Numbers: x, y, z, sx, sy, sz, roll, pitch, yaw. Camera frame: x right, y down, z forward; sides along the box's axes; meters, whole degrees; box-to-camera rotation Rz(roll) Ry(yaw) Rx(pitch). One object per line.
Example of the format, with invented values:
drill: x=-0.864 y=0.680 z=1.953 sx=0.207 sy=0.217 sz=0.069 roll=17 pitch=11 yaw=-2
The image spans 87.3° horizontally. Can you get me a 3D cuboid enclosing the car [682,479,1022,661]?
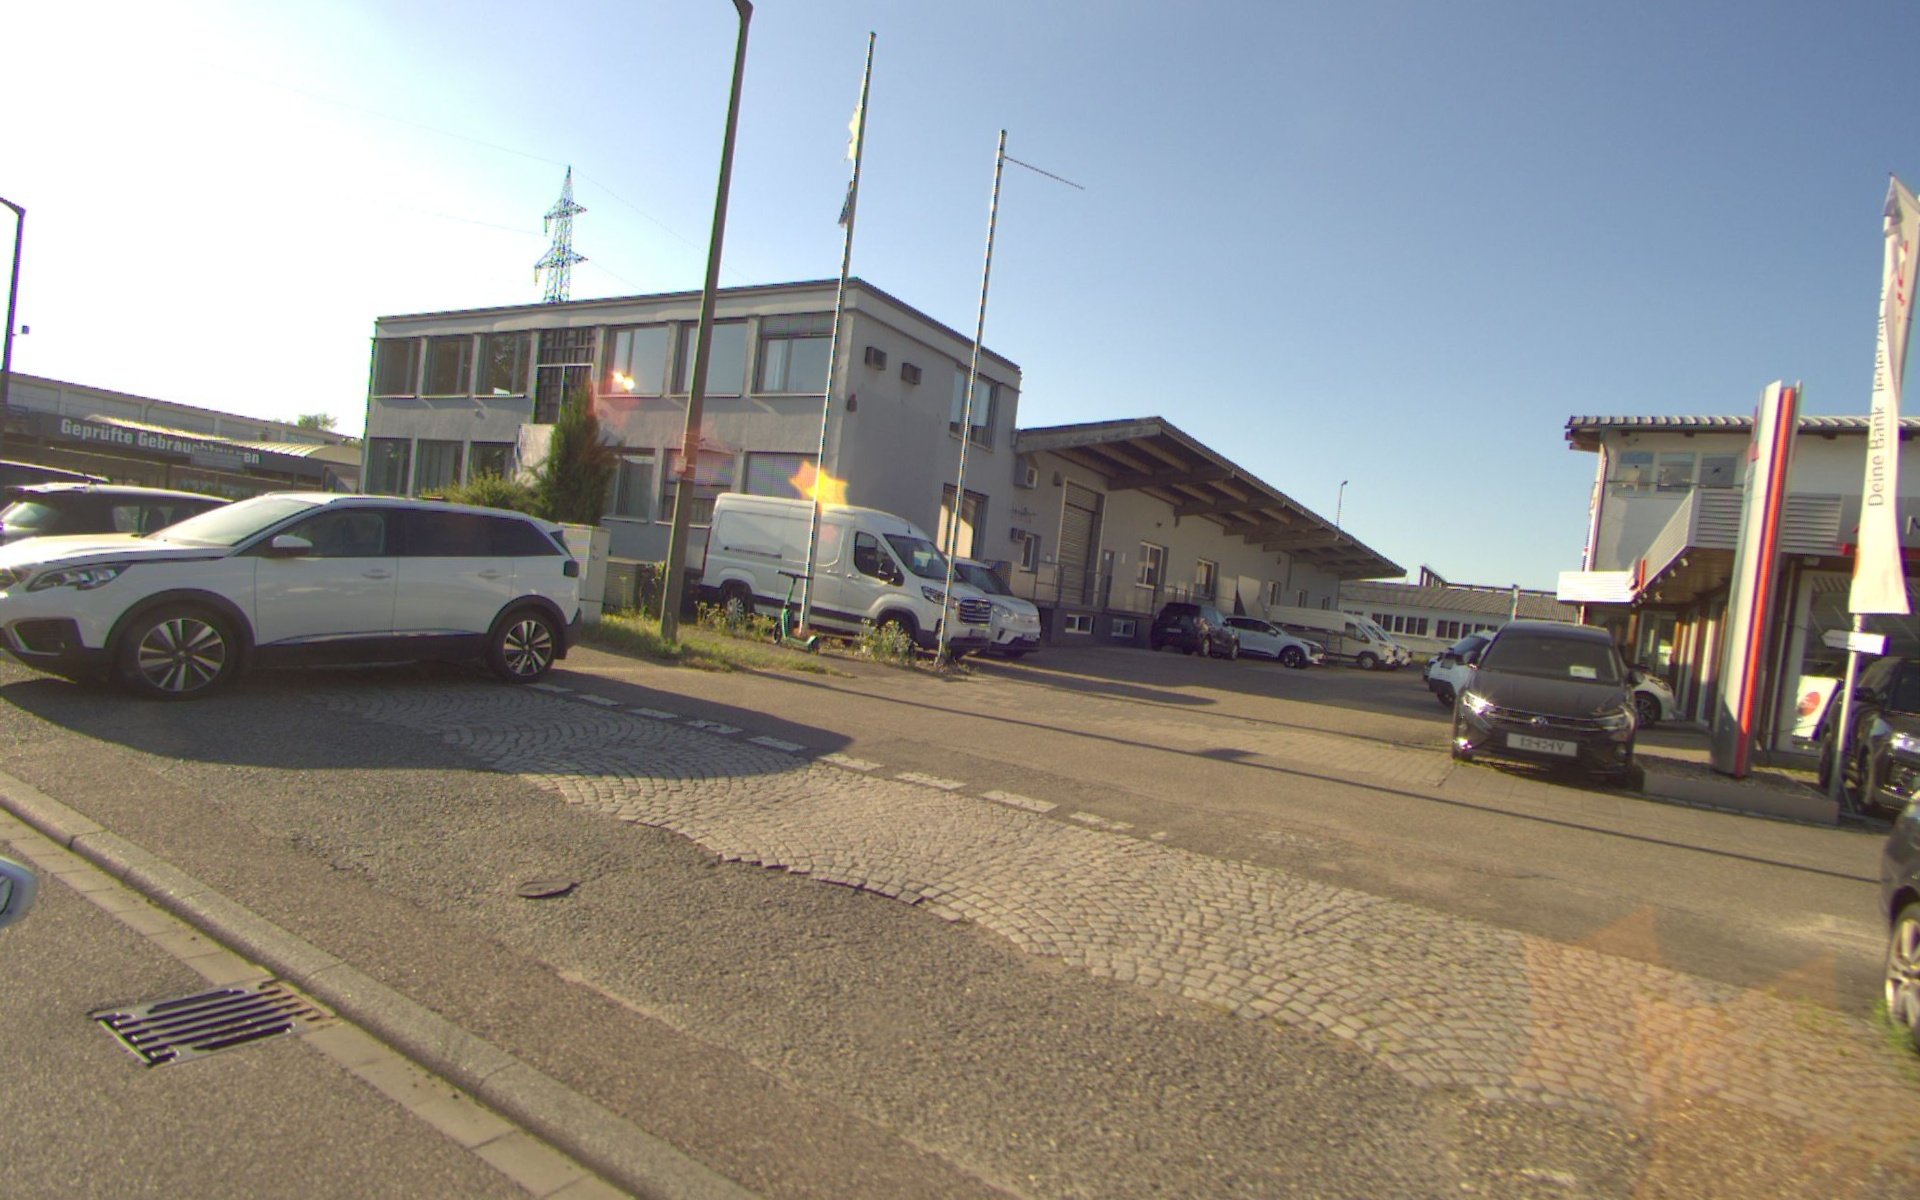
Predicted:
car: x=-2.117 y=-0.618 z=18.569 sx=6.035 sy=2.657 sz=1.996 roll=7 pitch=0 yaw=32

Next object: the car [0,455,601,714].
car: x=-5.744 y=-0.185 z=8.822 sx=2.164 sy=1.620 sz=4.556 roll=7 pitch=3 yaw=29

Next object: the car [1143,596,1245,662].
car: x=7.611 y=0.966 z=32.462 sx=1.966 sy=1.704 sz=3.994 roll=7 pitch=-1 yaw=31

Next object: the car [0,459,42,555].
car: x=-18.388 y=-1.748 z=16.942 sx=1.713 sy=1.675 sz=3.988 roll=7 pitch=3 yaw=29

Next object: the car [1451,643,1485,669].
car: x=37.237 y=4.132 z=73.695 sx=1.661 sy=1.544 sz=3.868 roll=7 pitch=-1 yaw=34

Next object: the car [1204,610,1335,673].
car: x=11.072 y=1.473 z=36.076 sx=3.936 sy=1.704 sz=1.995 roll=7 pitch=-1 yaw=34

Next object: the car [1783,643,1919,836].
car: x=10.316 y=1.419 z=10.496 sx=1.967 sy=1.682 sz=3.987 roll=7 pitch=2 yaw=31

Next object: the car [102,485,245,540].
car: x=-31.282 y=-3.438 z=40.114 sx=1.966 sy=1.624 sz=3.993 roll=4 pitch=-1 yaw=29

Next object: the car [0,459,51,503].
car: x=-42.750 y=-5.429 z=43.955 sx=1.966 sy=1.654 sz=3.994 roll=7 pitch=-1 yaw=30

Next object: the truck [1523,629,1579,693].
truck: x=25.732 y=2.689 z=43.717 sx=1.661 sy=2.436 sz=4.471 roll=7 pitch=-1 yaw=34

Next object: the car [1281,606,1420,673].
car: x=18.627 y=1.866 z=48.109 sx=5.757 sy=2.435 sz=1.996 roll=7 pitch=0 yaw=32

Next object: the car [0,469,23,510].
car: x=-45.232 y=-5.287 z=45.271 sx=1.966 sy=1.720 sz=3.994 roll=7 pitch=-1 yaw=30

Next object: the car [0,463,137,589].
car: x=-14.211 y=-1.156 z=13.939 sx=1.970 sy=1.634 sz=3.981 roll=7 pitch=2 yaw=38

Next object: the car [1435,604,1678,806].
car: x=7.138 y=1.092 z=12.103 sx=1.967 sy=1.795 sz=4.145 roll=7 pitch=2 yaw=31

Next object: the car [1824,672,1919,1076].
car: x=4.148 y=1.124 z=2.526 sx=2.099 sy=1.455 sz=4.438 roll=7 pitch=2 yaw=31

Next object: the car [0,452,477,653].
car: x=-7.596 y=-0.424 z=10.462 sx=1.888 sy=1.645 sz=4.250 roll=7 pitch=2 yaw=30

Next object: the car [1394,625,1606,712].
car: x=12.622 y=1.565 z=23.757 sx=3.803 sy=1.485 sz=2.001 roll=7 pitch=-1 yaw=5

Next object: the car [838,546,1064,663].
car: x=-0.206 y=0.074 z=20.286 sx=3.933 sy=1.821 sz=1.996 roll=7 pitch=0 yaw=31

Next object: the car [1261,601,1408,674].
car: x=16.936 y=1.666 z=45.669 sx=5.757 sy=2.553 sz=1.996 roll=7 pitch=0 yaw=32

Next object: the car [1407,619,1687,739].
car: x=10.591 y=1.389 z=18.432 sx=3.803 sy=1.601 sz=2.001 roll=7 pitch=0 yaw=5

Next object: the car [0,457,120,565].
car: x=-16.256 y=-1.520 z=16.083 sx=1.771 sy=1.675 sz=3.984 roll=7 pitch=4 yaw=32

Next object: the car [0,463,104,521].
car: x=-37.122 y=-4.360 z=40.868 sx=1.908 sy=1.791 sz=3.990 roll=5 pitch=-1 yaw=-15
